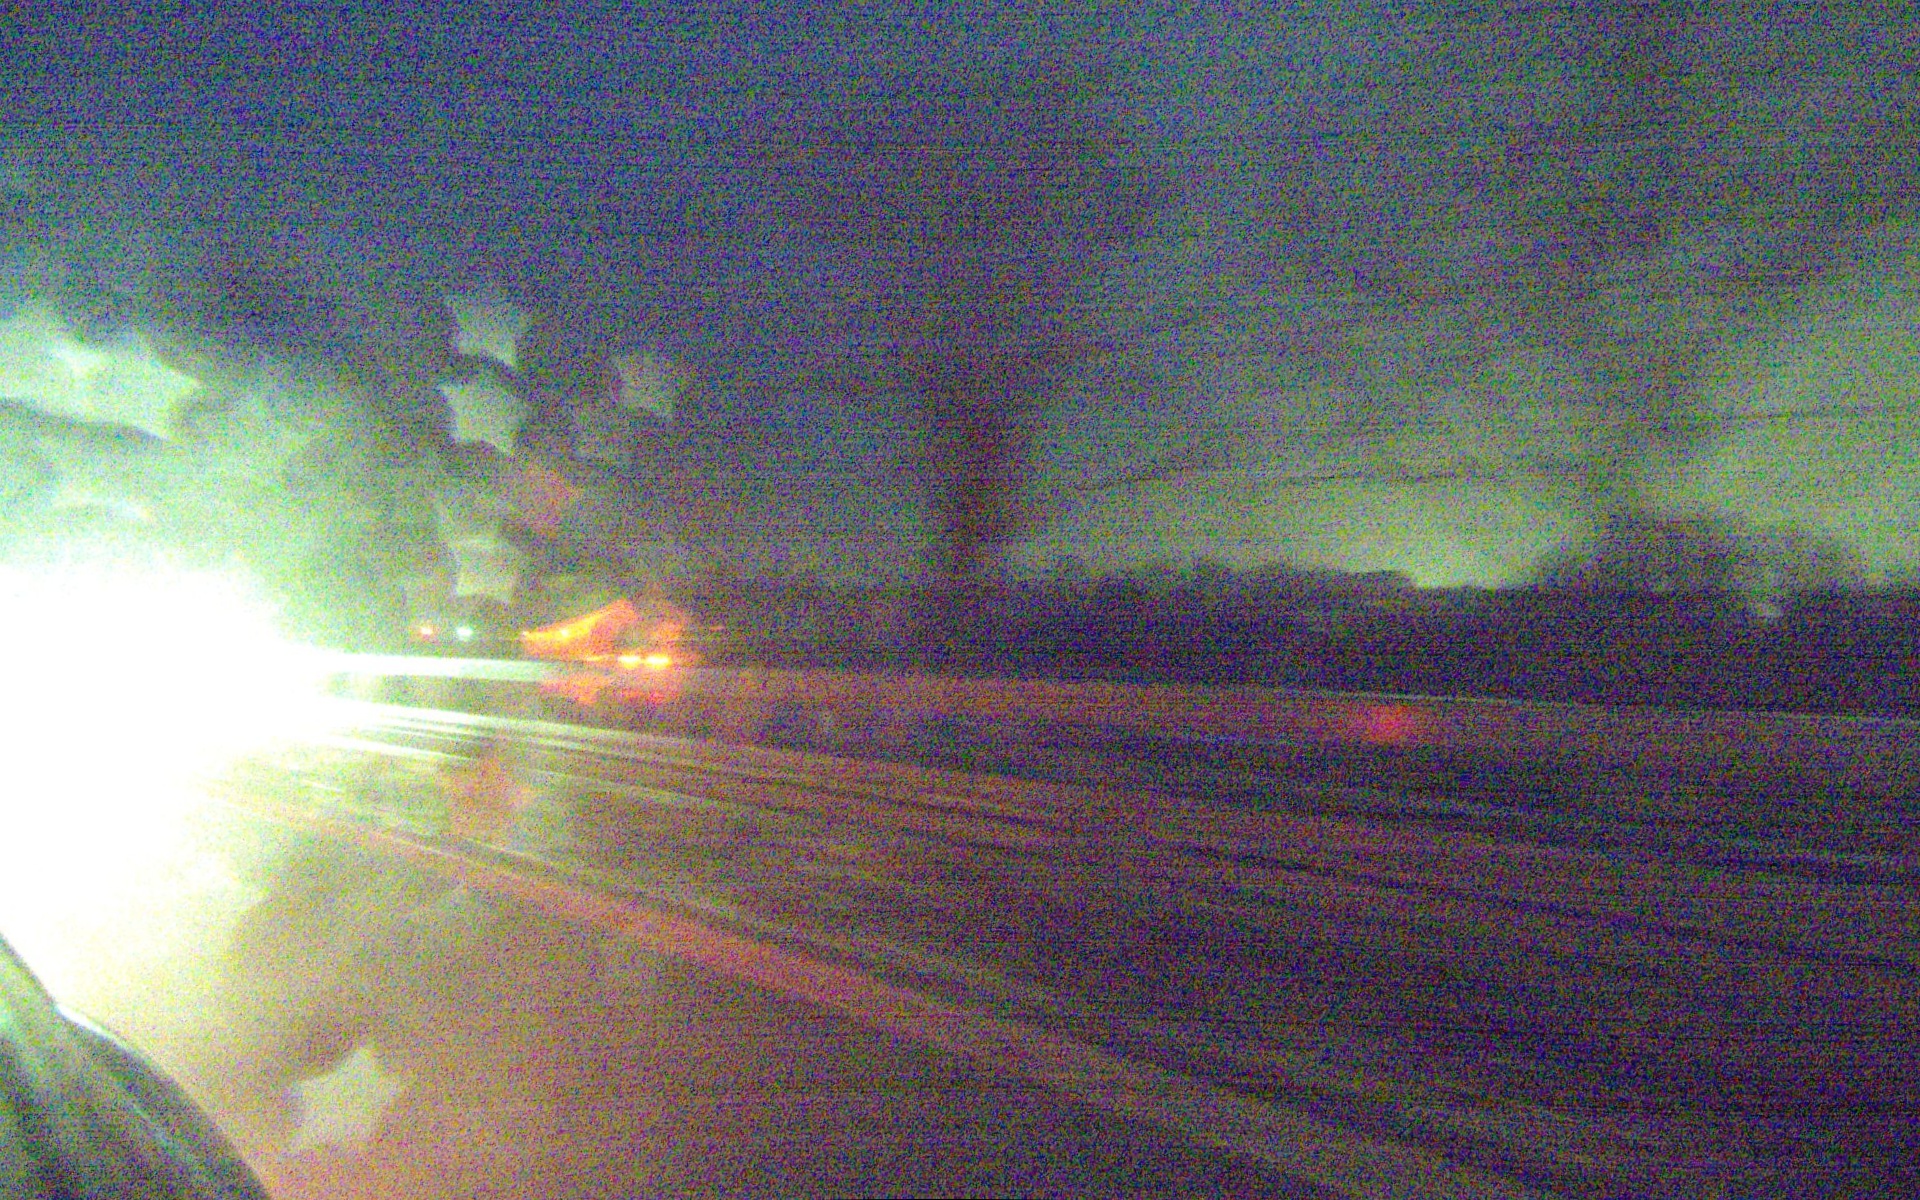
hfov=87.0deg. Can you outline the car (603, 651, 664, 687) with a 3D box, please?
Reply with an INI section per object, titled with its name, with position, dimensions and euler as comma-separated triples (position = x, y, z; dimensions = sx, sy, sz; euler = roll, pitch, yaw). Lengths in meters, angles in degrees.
[car]
position = -14.938, 3.108, 46.150
dimensions = 1.702, 1.408, 3.940
euler = 4, -2, -31
